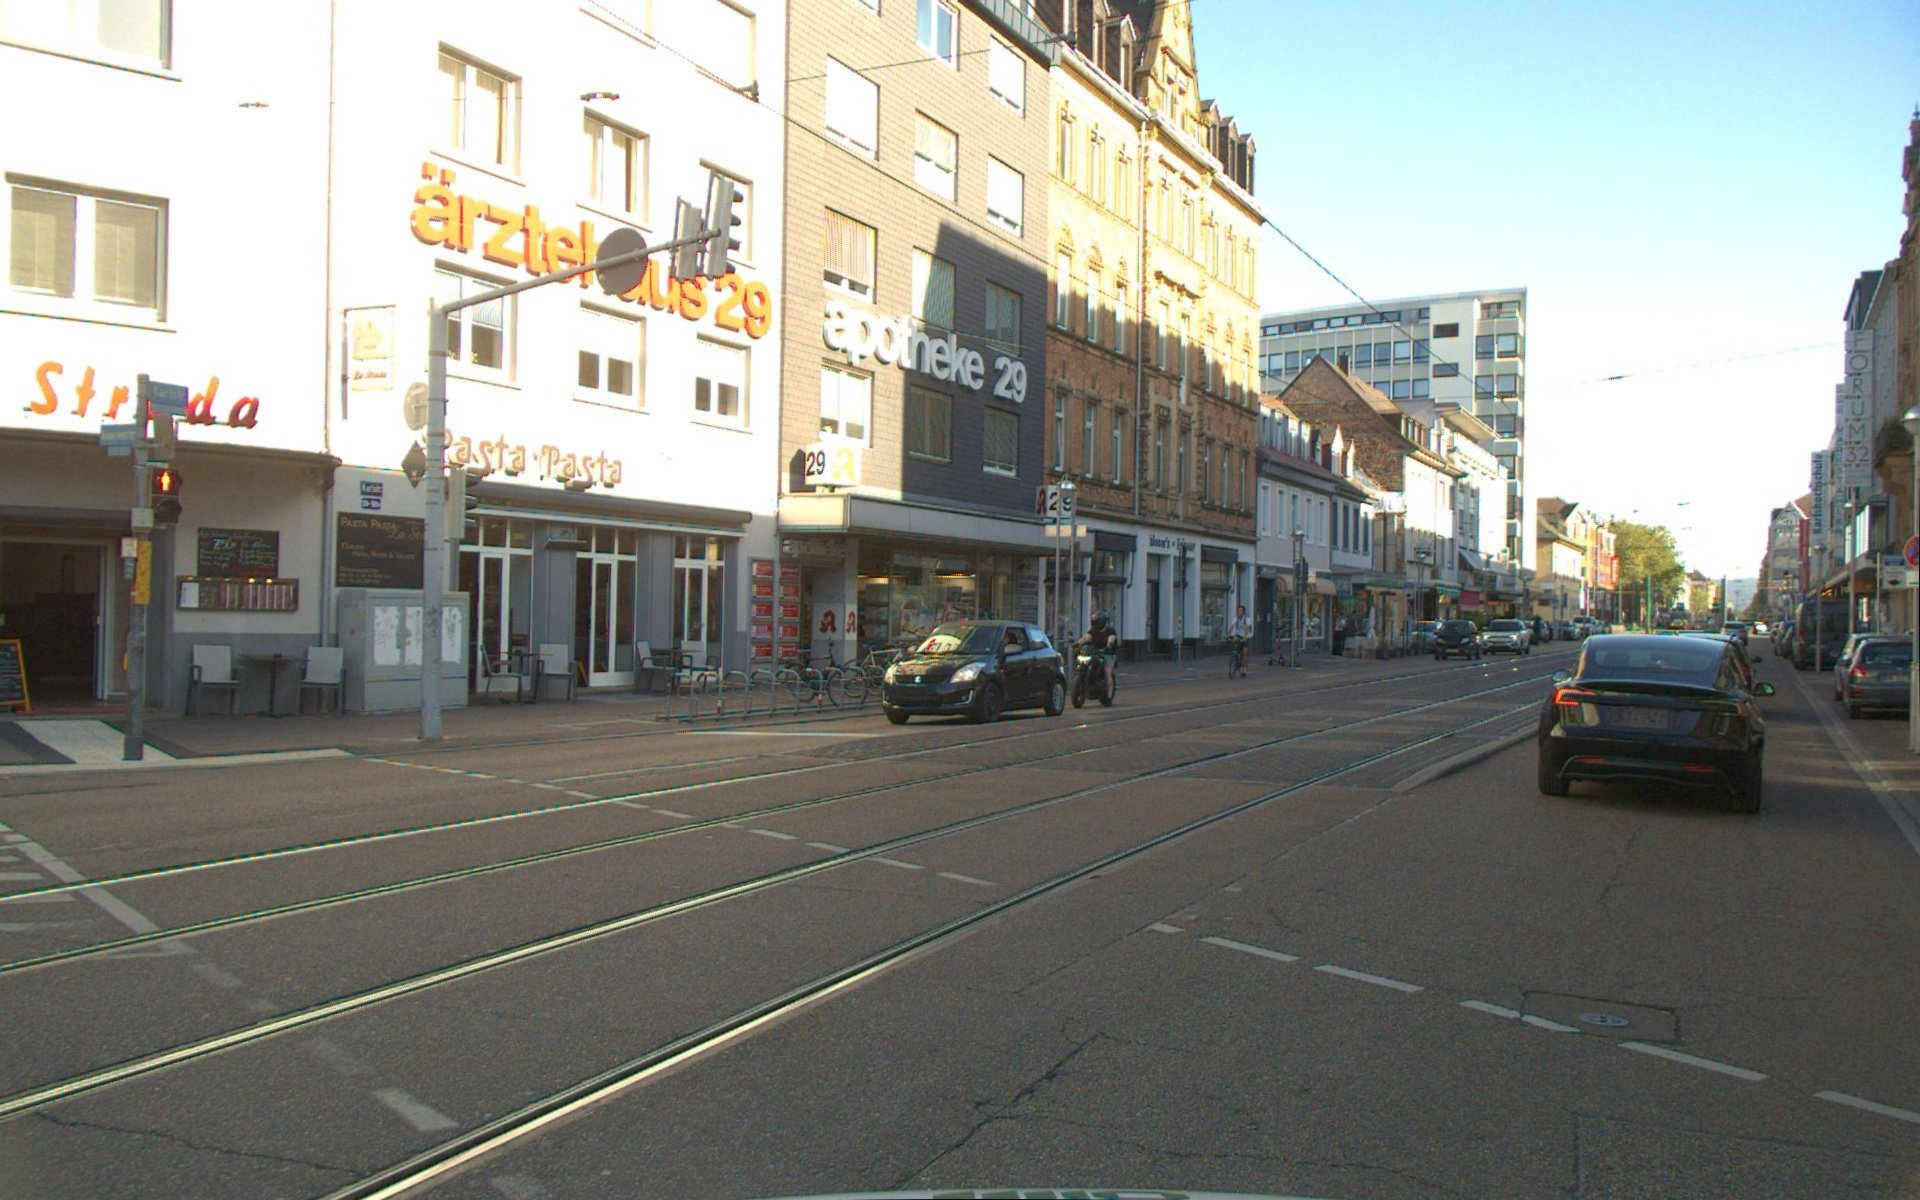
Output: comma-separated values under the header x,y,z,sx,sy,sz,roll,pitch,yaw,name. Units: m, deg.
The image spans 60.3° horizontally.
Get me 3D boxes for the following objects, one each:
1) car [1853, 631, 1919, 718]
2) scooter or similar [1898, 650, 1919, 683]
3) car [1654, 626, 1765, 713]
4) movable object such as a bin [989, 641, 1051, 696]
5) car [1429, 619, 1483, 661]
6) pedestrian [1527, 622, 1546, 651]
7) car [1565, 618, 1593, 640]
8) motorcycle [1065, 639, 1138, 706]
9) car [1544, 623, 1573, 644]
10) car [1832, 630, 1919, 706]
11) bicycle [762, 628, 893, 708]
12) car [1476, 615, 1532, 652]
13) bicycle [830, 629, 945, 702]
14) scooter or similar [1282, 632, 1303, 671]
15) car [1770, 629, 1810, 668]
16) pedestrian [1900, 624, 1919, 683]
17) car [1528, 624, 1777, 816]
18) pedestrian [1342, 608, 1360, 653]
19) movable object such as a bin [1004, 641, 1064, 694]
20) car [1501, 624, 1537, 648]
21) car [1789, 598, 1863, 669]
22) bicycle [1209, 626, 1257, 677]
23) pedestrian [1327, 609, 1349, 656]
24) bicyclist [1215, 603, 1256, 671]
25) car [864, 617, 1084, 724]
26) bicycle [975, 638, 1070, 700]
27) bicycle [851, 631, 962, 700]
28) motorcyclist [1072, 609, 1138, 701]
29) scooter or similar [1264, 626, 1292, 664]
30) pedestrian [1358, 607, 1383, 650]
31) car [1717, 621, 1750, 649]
x,y,z,sx,sy,sz,roll,pitch,yaw,name
17.545,1.325,30.490,1.812,1.488,4.296,0,-1,27,car
28.740,1.999,49.955,0.581,0.953,1.298,-1,-1,24,scooter or similar
13.824,1.241,30.486,1.727,1.443,4.351,1,-1,25,car
1.269,1.434,35.104,1.078,1.090,0.734,2,0,26,movable object such as a bin
19.696,1.552,65.602,1.616,1.593,2.826,1,-1,26,car
36.728,2.324,105.368,0.818,1.881,0.765,1,-1,-33,pedestrian
56.396,2.645,150.730,1.969,1.995,4.720,1,-1,25,car
2.522,1.255,29.193,0.558,1.139,2.115,0,-1,26,motorcycle
48.233,2.696,133.236,1.685,1.599,3.844,1,-1,28,car
19.652,1.405,35.240,1.711,1.488,4.292,0,-1,26,car
-2.261,1.141,28.261,2.060,1.245,0.774,2,0,21,bicycle
25.033,1.532,76.040,1.853,1.622,4.258,-1,-1,26,car
-1.312,1.171,30.039,1.895,1.193,0.774,2,0,21,bicycle
10.928,1.687,54.359,0.356,1.222,1.477,3,0,22,scooter or similar
42.799,2.469,85.346,1.786,1.903,3.750,1,0,26,car
28.222,1.584,49.000,0.545,1.745,0.954,-1,-2,24,pedestrian
6.602,0.985,15.483,1.833,1.452,4.359,1,0,27,car
16.426,1.271,69.540,0.643,1.855,0.642,1,-1,20,pedestrian
1.592,1.447,35.753,1.078,1.082,0.698,2,0,26,movable object such as a bin
37.957,2.447,112.260,1.735,1.535,3.859,1,-1,27,car
31.935,1.232,61.125,2.128,2.505,5.358,-1,-1,25,car
7.254,1.365,43.893,0.735,1.316,2.023,-1,-1,26,bicycle
14.951,1.280,65.413,0.604,1.806,0.715,1,-1,39,pedestrian
7.295,0.973,43.825,0.736,1.759,1.144,1,-1,27,bicyclist
0.308,1.011,24.940,1.679,1.471,4.134,-2,-1,26,car
1.303,1.419,34.431,1.895,1.211,0.552,1,-1,22,bicycle
-1.001,1.211,30.768,1.895,1.213,0.774,1,-1,21,bicycle
2.564,0.961,29.138,0.787,1.585,1.144,0,-1,27,motorcyclist
10.507,1.474,54.568,0.567,1.222,1.477,2,0,23,scooter or similar
17.350,1.211,69.889,0.868,1.806,0.687,1,-1,24,pedestrian
55.938,2.524,119.590,2.044,1.903,3.750,1,0,26,car
